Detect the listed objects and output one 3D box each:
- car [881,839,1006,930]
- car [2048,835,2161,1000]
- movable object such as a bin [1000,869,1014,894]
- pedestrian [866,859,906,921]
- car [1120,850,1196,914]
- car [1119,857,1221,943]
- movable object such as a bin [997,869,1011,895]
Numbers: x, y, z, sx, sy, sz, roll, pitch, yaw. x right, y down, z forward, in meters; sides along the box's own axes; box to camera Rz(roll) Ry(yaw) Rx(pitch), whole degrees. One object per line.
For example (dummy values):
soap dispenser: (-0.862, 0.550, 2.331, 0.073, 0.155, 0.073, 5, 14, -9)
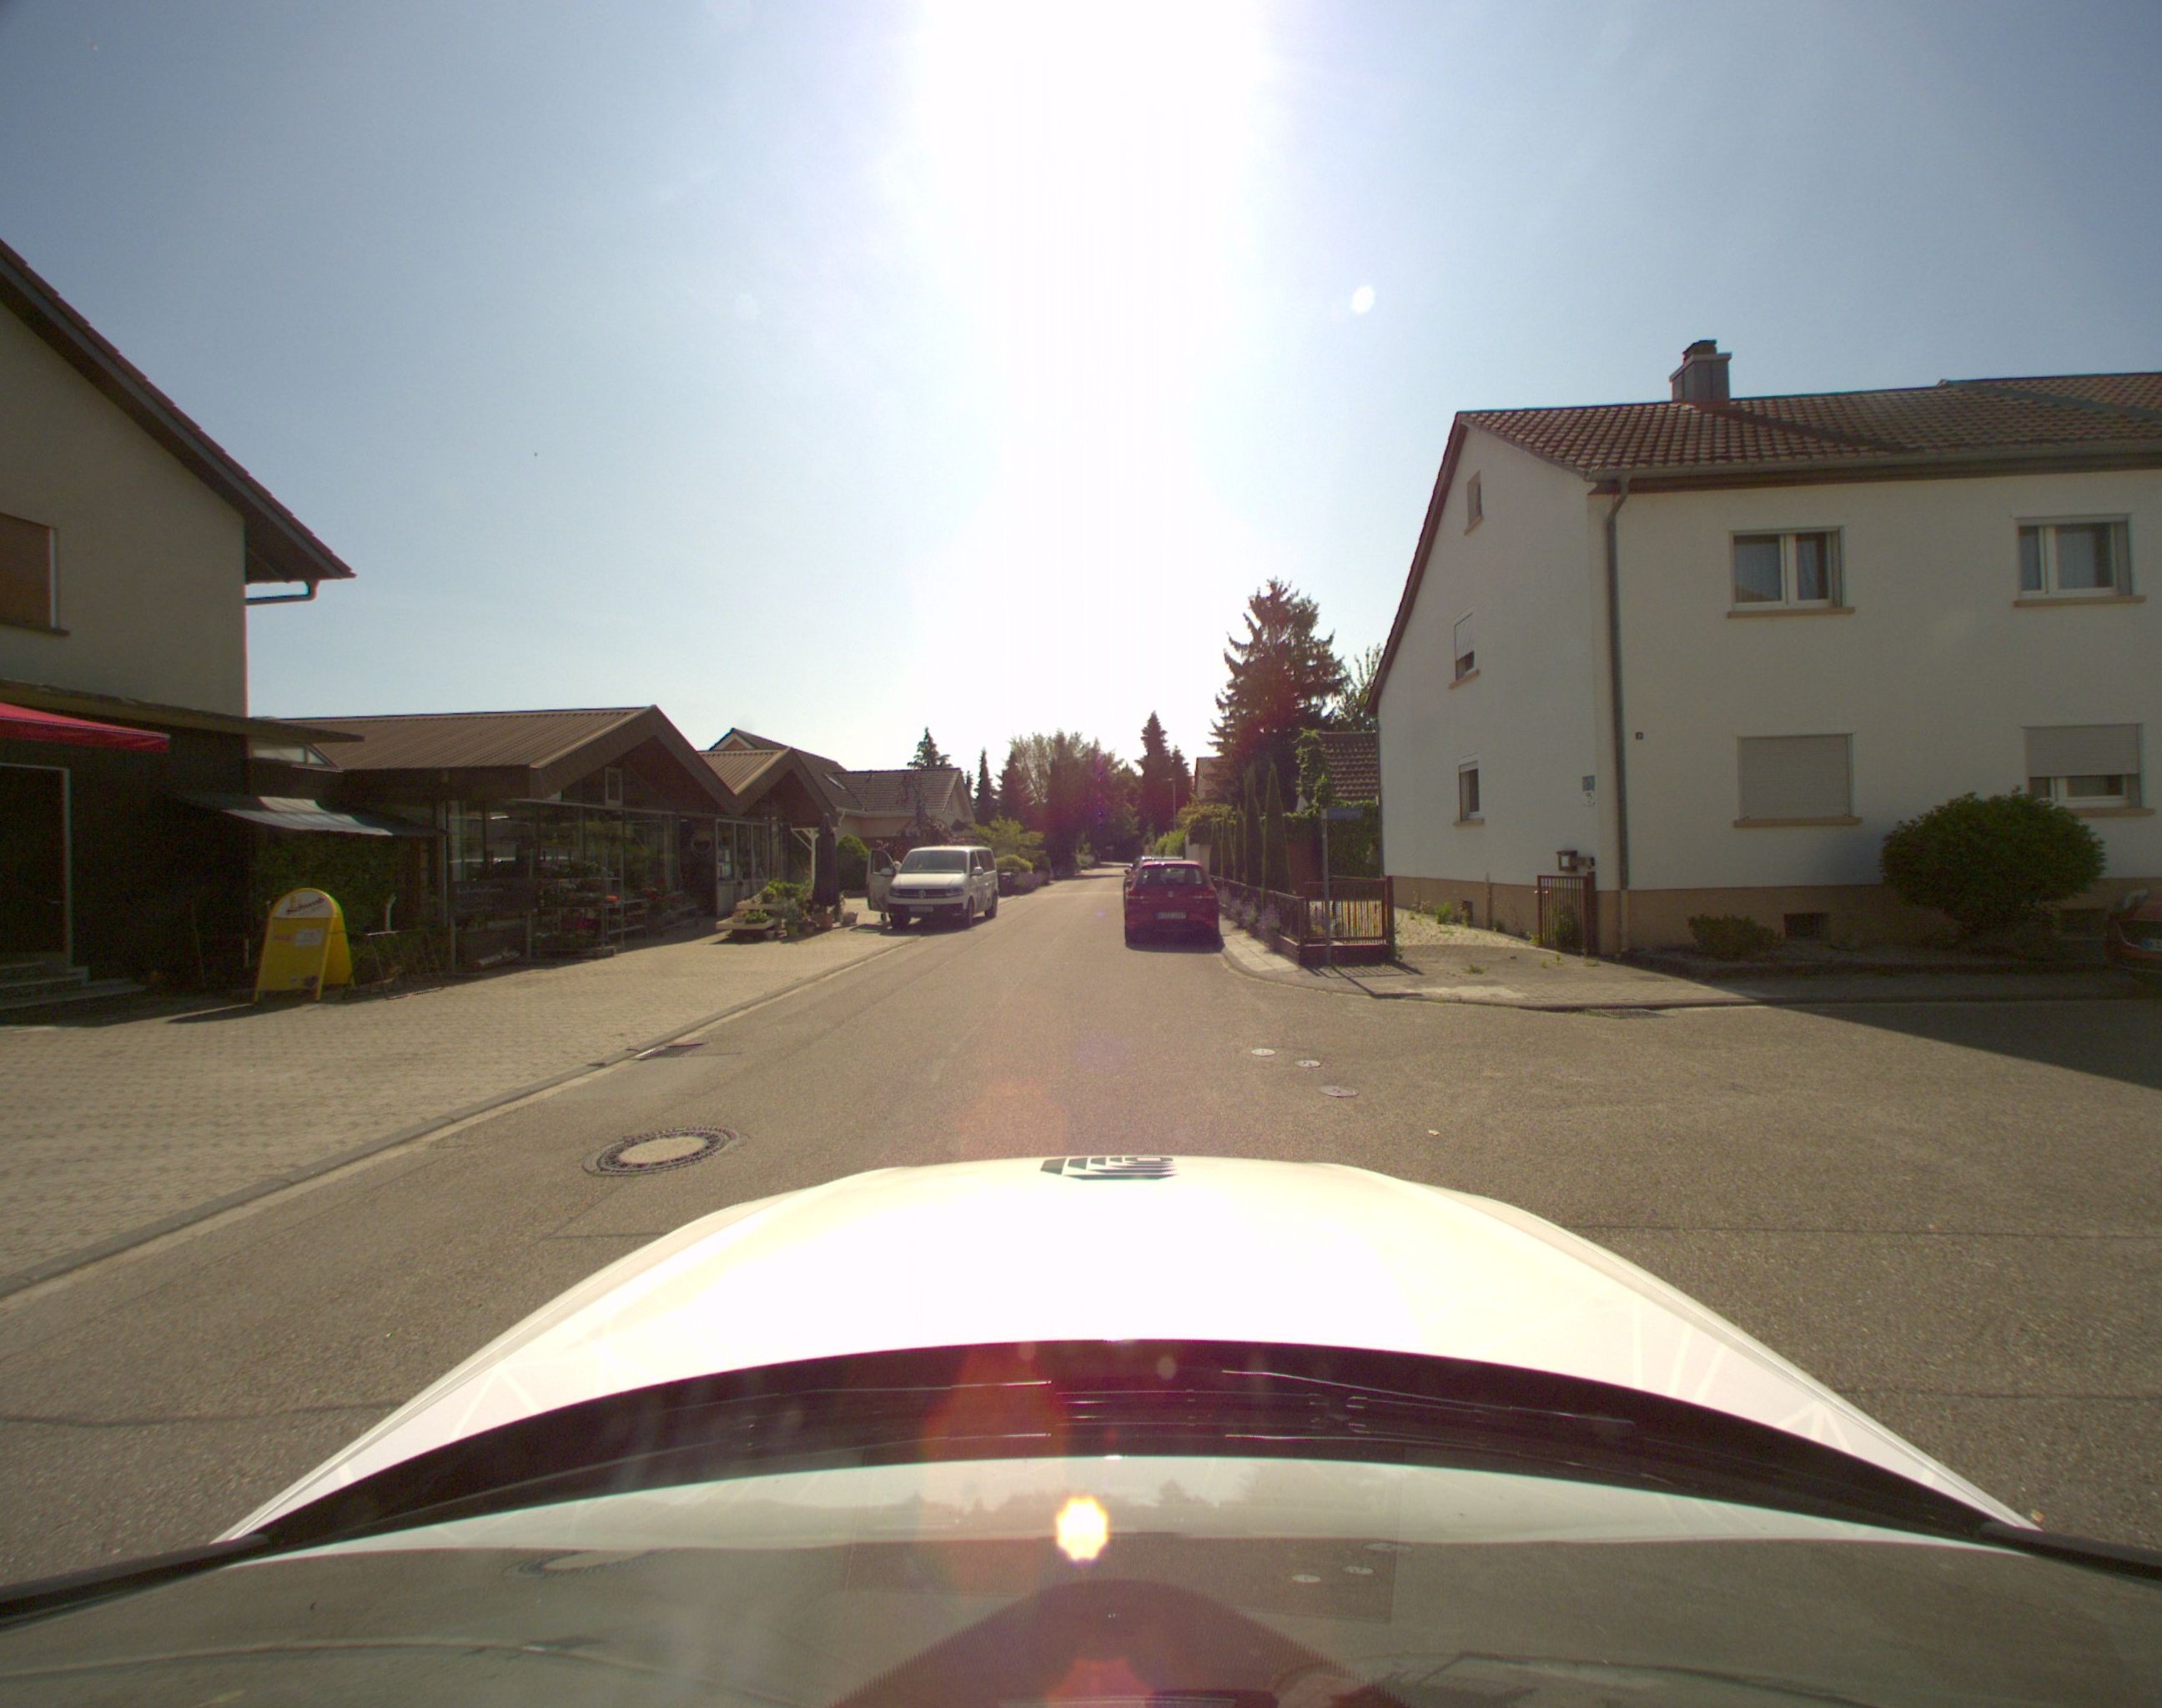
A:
car: (-3.339, 0.709, 20.809, 1.920, 2.014, 4.902, -1, 0, 5)
car: (12.032, 0.546, 7.517, 3.970, 1.530, 1.798, -1, 0, 2)
movable object such as a bin: (-3.106, 1.174, 34.410, 0.492, 1.024, 0.448, -2, 0, 3)
pedestrian: (-4.951, 0.901, 20.652, 0.710, 1.538, 0.646, -1, 0, 36)
car: (2.071, 0.734, 22.995, 1.816, 1.615, 4.000, -1, 0, 1)
car: (1.793, 0.812, 16.263, 1.766, 1.479, 4.007, 0, 0, 7)
movable object such as a bin: (-3.190, 1.168, 33.932, 0.492, 1.024, 0.448, -2, 0, 3)
